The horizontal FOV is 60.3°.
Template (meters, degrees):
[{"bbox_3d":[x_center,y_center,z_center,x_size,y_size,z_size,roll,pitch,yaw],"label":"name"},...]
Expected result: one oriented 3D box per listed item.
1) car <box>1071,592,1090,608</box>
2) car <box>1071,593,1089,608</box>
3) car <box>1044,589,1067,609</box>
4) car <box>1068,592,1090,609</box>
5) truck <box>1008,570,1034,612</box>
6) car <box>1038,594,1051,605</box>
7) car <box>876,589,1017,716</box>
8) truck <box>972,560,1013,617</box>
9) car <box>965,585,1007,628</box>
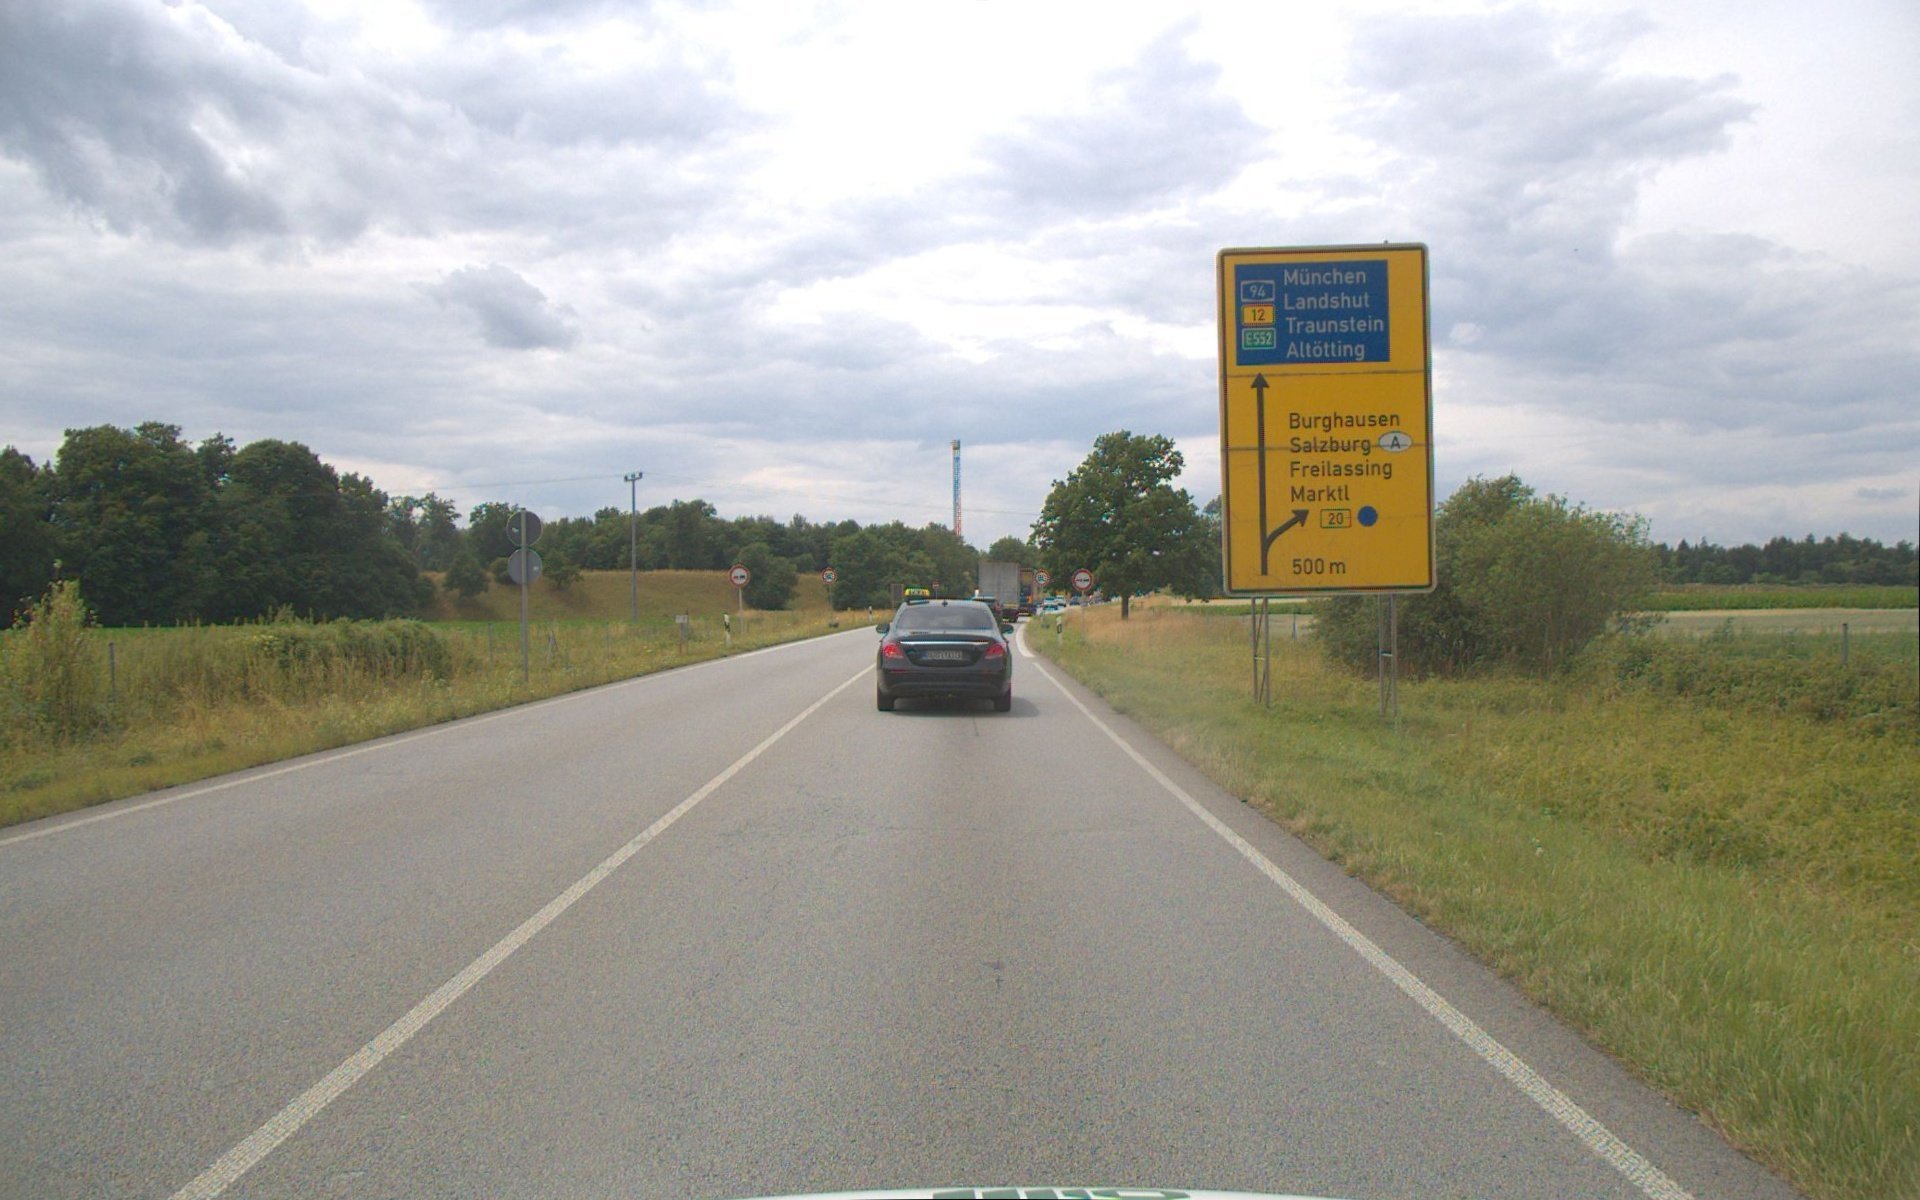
[{"bbox_3d":[13.130,0.035,180.598,1.759,1.691,3.999,1,0,-1],"label":"car"},{"bbox_3d":[14.090,0.042,194.337,1.759,1.691,3.999,1,0,-1],"label":"car"},{"bbox_3d":[8.434,-0.092,146.023,1.759,1.691,3.999,1,0,-1],"label":"car"},{"bbox_3d":[11.911,0.065,165.483,1.759,1.691,3.999,1,0,-1],"label":"car"},{"bbox_3d":[5.398,-0.775,146.762,1.953,3.587,4.591,1,0,-1],"label":"truck"},{"bbox_3d":[10.959,-0.086,215.183,1.614,1.420,3.707,1,0,3],"label":"car"},{"bbox_3d":[-0.208,0.676,22.946,1.759,1.587,3.999,1,0,-1],"label":"car"},{"bbox_3d":[2.100,-0.701,107.030,2.533,3.586,4.813,1,0,2],"label":"truck"},{"bbox_3d":[1.278,0.314,82.431,1.953,2.049,3.999,1,0,-1],"label":"car"}]
